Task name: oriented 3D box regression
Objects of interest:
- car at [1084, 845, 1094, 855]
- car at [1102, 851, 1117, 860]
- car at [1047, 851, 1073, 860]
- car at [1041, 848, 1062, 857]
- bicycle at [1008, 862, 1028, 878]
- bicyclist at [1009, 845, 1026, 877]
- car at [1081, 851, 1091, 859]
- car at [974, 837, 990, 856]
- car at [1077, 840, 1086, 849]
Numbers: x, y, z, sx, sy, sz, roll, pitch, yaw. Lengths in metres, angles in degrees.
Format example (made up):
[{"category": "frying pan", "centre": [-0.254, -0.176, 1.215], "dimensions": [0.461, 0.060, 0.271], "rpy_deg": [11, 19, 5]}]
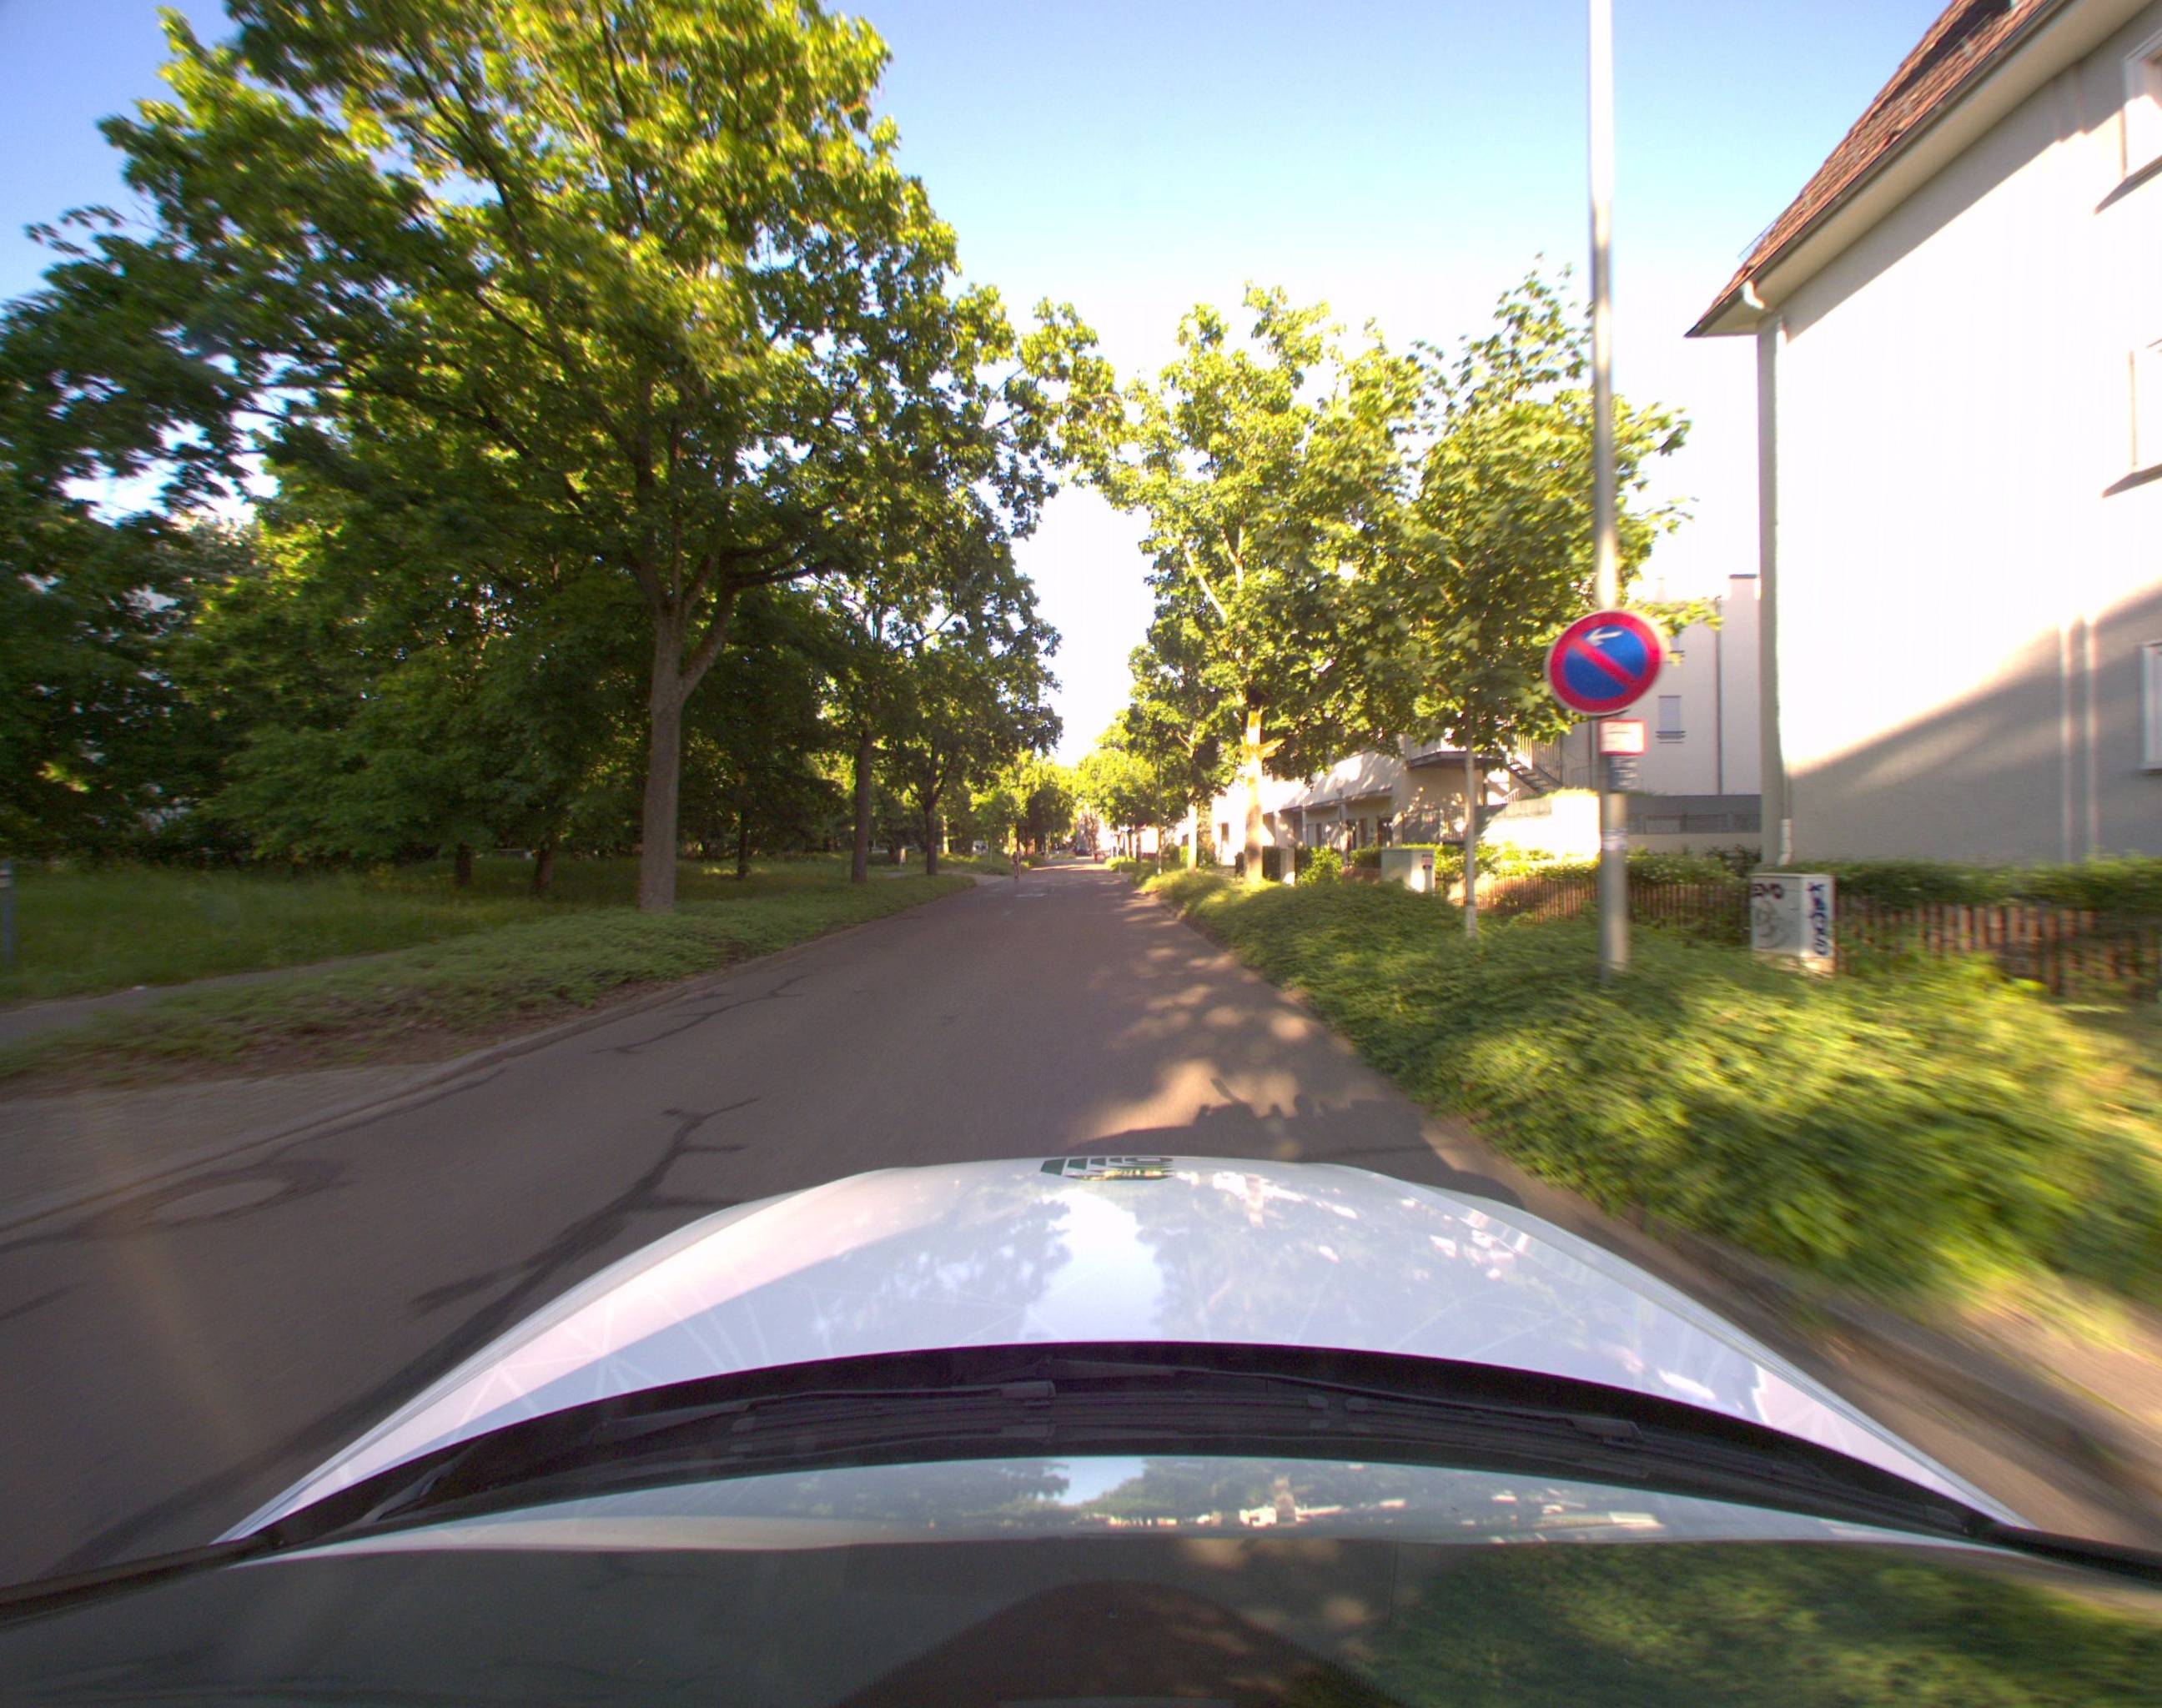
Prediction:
[{"category": "car", "centre": [1.542, -0.804, 161.769], "dimensions": [1.807, 1.925, 3.995], "rpy_deg": [1, 0, -3]}, {"category": "car", "centre": [4.659, 0.263, 133.305], "dimensions": [1.810, 1.501, 3.990], "rpy_deg": [-1, 0, -7]}, {"category": "car", "centre": [-3.359, 0.267, 131.095], "dimensions": [3.984, 1.501, 1.812], "rpy_deg": [1, 0, -8]}, {"category": "car", "centre": [-5.191, -0.320, 143.331], "dimensions": [3.585, 1.510, 1.496], "rpy_deg": [1, 0, -8]}, {"category": "bicycle", "centre": [-3.186, 0.804, 41.244], "dimensions": [0.636, 0.742, 2.128], "rpy_deg": [-2, 0, 5]}, {"category": "bicyclist", "centre": [-3.213, 0.362, 41.099], "dimensions": [0.630, 1.555, 1.004], "rpy_deg": [-2, 0, 5]}, {"category": "car", "centre": [0.954, 0.223, 170.078], "dimensions": [1.807, 1.501, 3.995], "rpy_deg": [1, 0, -3]}, {"category": "car", "centre": [-13.383, -1.003, 109.729], "dimensions": [1.993, 2.508, 3.988], "rpy_deg": [0, 0, -8]}, {"category": "car", "centre": [0.113, -2.140, 186.827], "dimensions": [1.807, 2.050, 3.995], "rpy_deg": [1, 0, -3]}]
